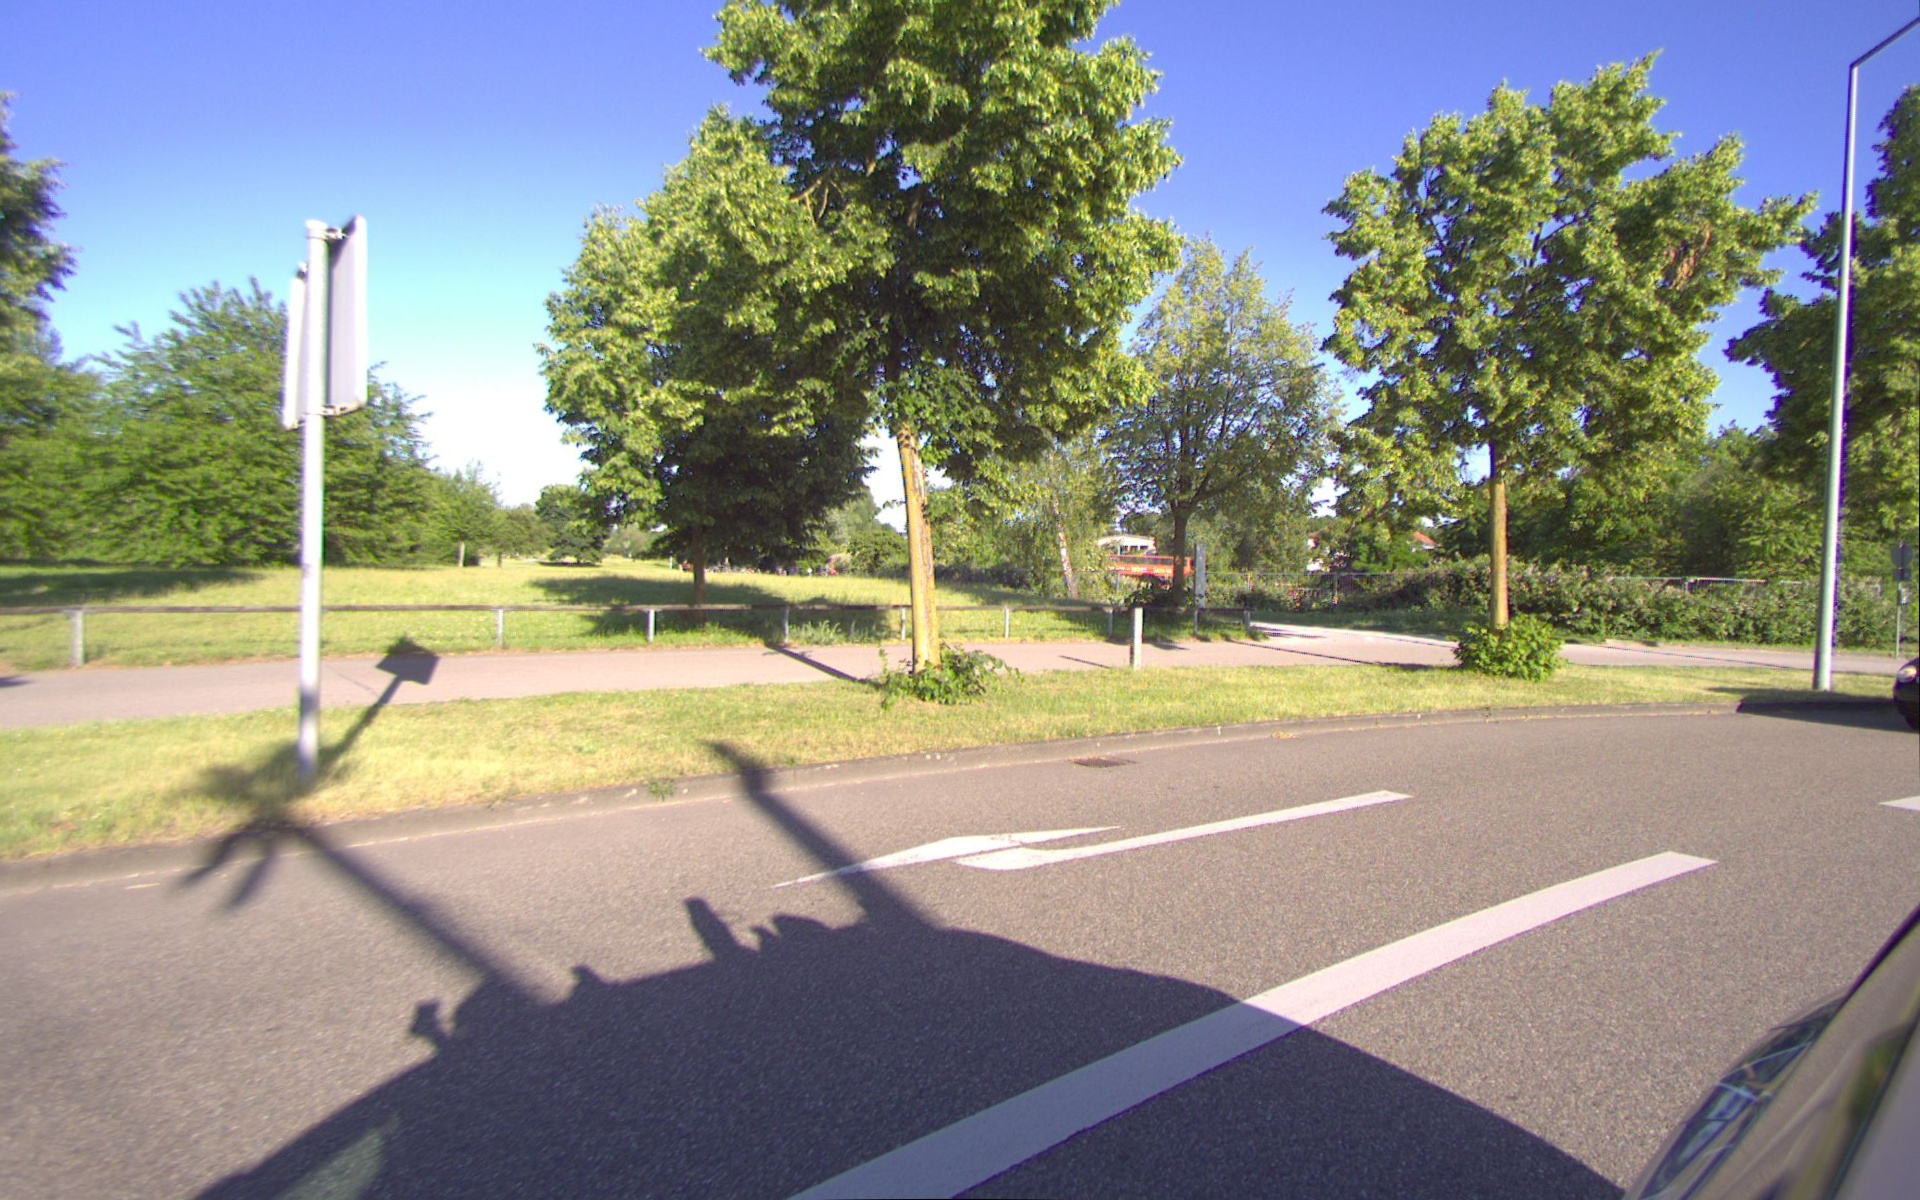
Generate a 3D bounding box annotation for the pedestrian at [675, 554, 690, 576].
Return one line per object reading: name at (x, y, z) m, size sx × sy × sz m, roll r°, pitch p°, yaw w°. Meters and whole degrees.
pedestrian at (-18.761, -2.383, 68.383) m, size 0.676 × 1.458 × 0.792 m, roll 2°, pitch 1°, yaw 11°

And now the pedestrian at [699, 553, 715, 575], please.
pedestrian at (-17.023, -2.392, 68.017) m, size 0.762 × 1.458 × 0.792 m, roll 2°, pitch 1°, yaw 11°

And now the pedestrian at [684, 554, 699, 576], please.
pedestrian at (-17.995, -2.372, 67.856) m, size 0.676 × 1.458 × 0.792 m, roll 2°, pitch 1°, yaw 11°

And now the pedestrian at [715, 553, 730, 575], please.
pedestrian at (-15.841, -2.386, 67.460) m, size 0.651 × 1.458 × 0.792 m, roll 2°, pitch 1°, yaw 11°

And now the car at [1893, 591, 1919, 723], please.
car at (13.183, 0.684, 11.683) m, size 4.450 × 1.485 × 1.642 m, roll 0°, pitch 1°, yaw -20°
